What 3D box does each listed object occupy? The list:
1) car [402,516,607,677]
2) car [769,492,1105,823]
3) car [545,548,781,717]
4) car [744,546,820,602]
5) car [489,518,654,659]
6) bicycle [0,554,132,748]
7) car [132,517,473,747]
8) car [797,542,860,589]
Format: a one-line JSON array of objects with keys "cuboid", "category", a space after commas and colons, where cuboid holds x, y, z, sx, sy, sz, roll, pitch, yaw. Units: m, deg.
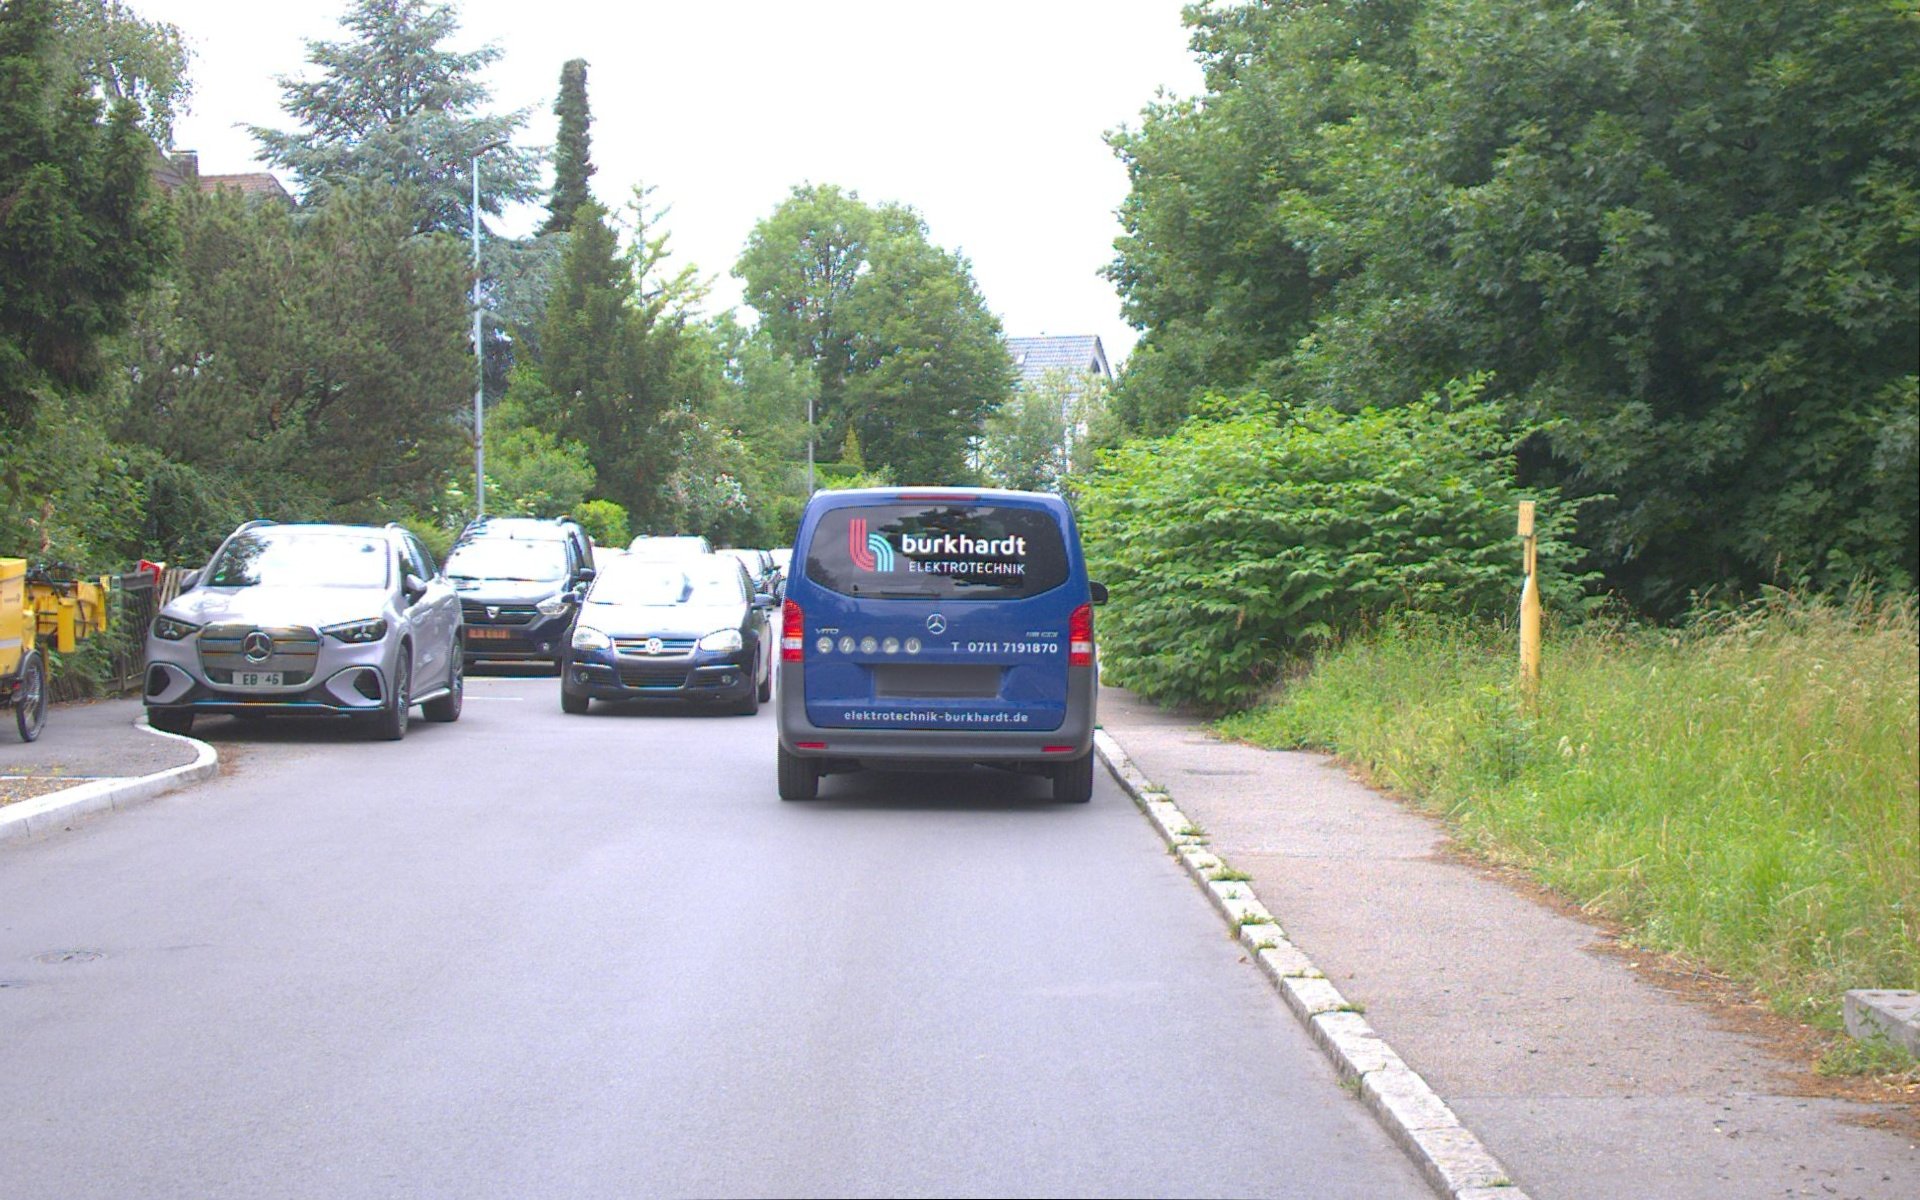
[{"cuboid": [-5.237, -0.088, 39.973, 1.832, 1.745, 4.000, 1, 1, 0], "category": "car"}, {"cuboid": [-0.200, 0.262, 21.382, 1.888, 1.837, 4.001, 0, 2, -2], "category": "car"}, {"cuboid": [-2.696, 0.253, 31.974, 1.819, 1.438, 4.000, 1, 1, 0], "category": "car"}, {"cuboid": [-5.033, -0.764, 97.806, 1.928, 1.408, 3.963, 1, 2, 0], "category": "car"}, {"cuboid": [-5.169, -0.157, 46.140, 1.831, 1.798, 4.000, 1, 0, -1], "category": "car"}, {"cuboid": [-6.639, 0.319, 24.134, 0.906, 1.247, 2.916, 2, 1, 0], "category": "bicycle"}, {"cuboid": [-5.072, 0.197, 27.072, 1.836, 1.625, 4.301, 1, 1, 0], "category": "car"}, {"cuboid": [-4.439, -1.183, 116.434, 1.928, 1.408, 3.963, 1, 2, 0], "category": "car"}]
